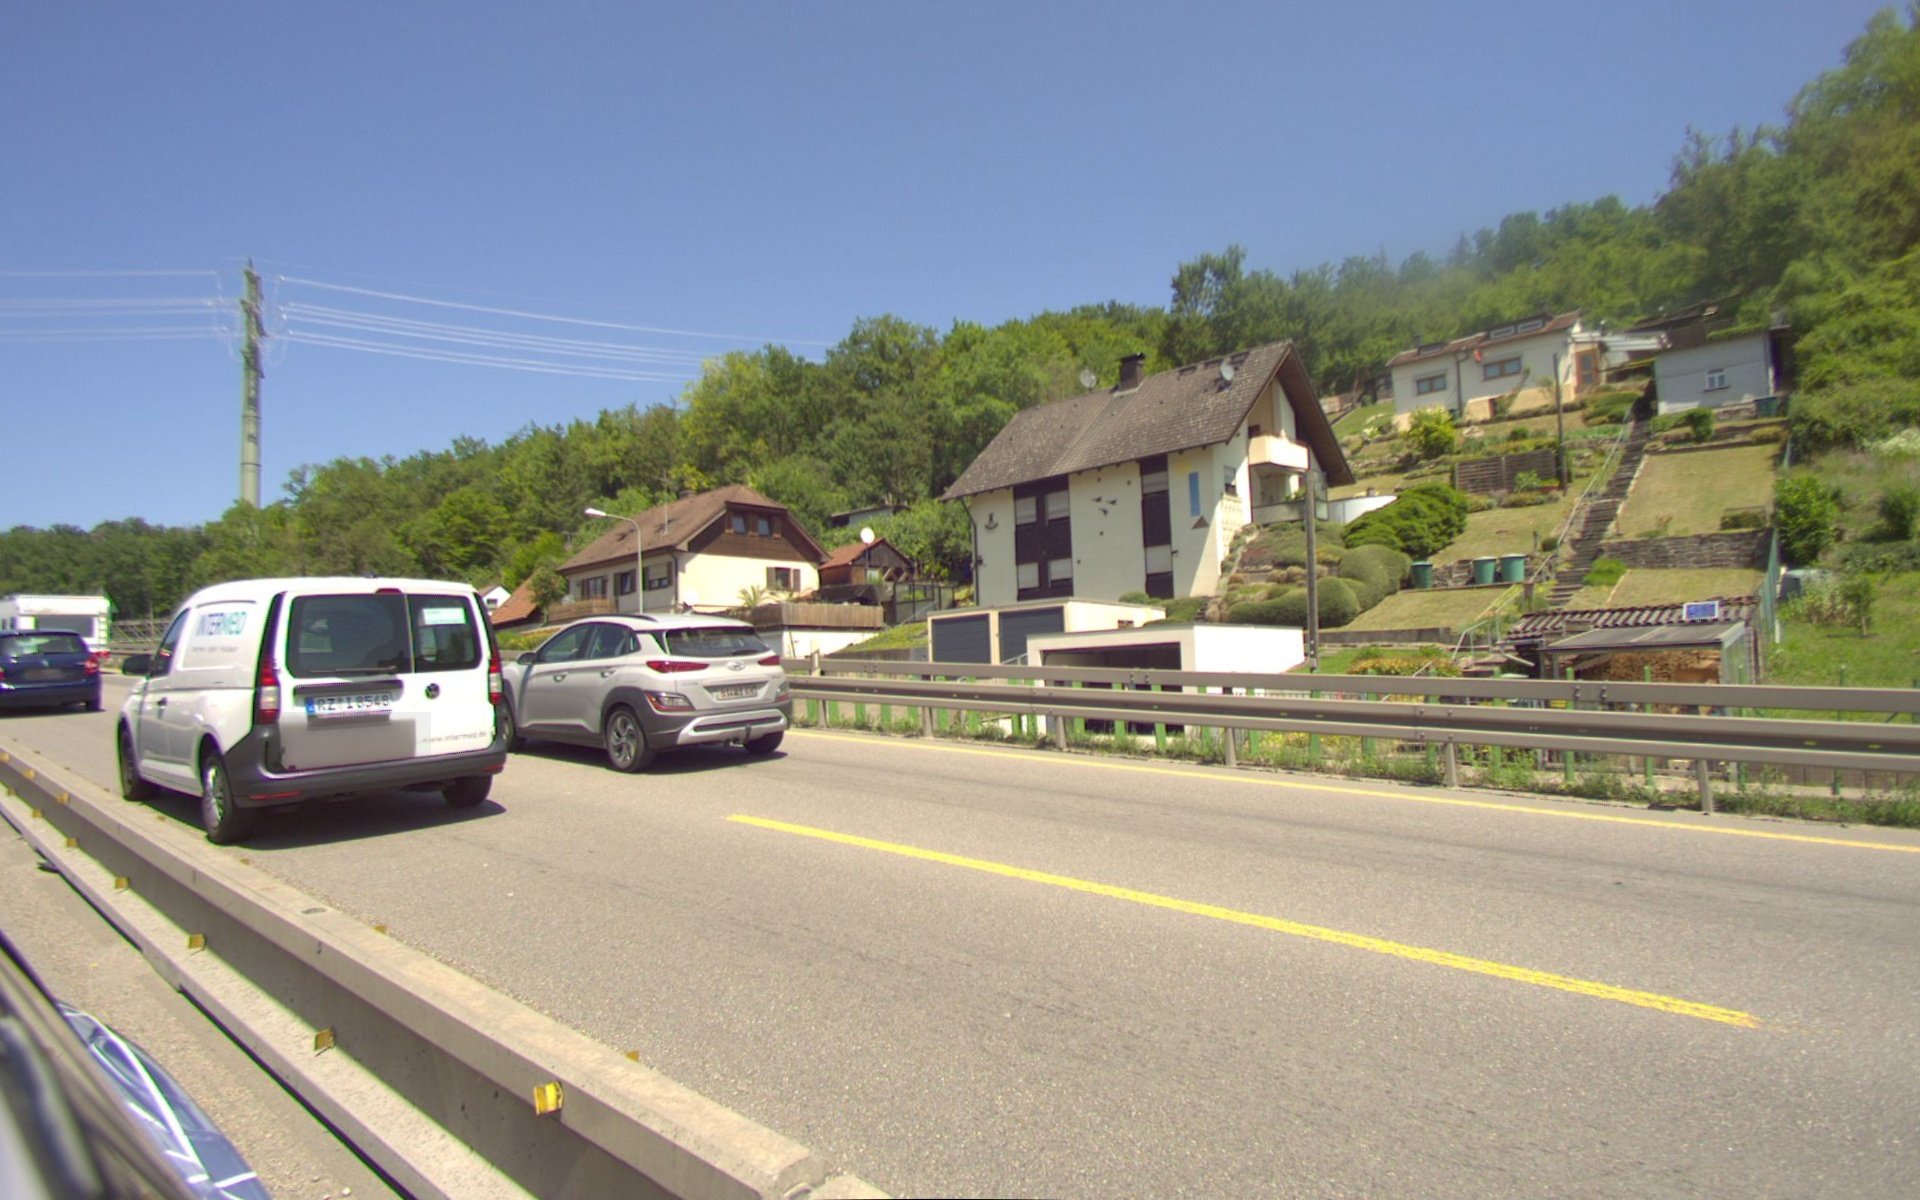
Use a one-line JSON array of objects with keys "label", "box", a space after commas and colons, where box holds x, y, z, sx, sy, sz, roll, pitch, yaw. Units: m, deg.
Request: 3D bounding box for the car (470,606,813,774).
[{"label": "car", "box": [-3.545, 0.851, 10.917, 3.971, 1.491, 1.684, -2, -2, 40]}]

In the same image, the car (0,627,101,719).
[{"label": "car", "box": [-16.863, 1.249, 18.149, 4.210, 1.473, 1.555, -2, -2, 40]}]

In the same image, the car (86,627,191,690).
[{"label": "car", "box": [-28.950, 1.971, 35.603, 4.976, 2.029, 1.973, -1, -1, 40]}]

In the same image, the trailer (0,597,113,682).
[{"label": "trailer", "box": [-30.674, 1.262, 33.827, 6.236, 2.608, 2.573, -1, -1, 40]}]

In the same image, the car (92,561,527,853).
[{"label": "car", "box": [-5.398, 0.702, 8.172, 4.253, 1.754, 1.791, -2, -2, 40]}]
